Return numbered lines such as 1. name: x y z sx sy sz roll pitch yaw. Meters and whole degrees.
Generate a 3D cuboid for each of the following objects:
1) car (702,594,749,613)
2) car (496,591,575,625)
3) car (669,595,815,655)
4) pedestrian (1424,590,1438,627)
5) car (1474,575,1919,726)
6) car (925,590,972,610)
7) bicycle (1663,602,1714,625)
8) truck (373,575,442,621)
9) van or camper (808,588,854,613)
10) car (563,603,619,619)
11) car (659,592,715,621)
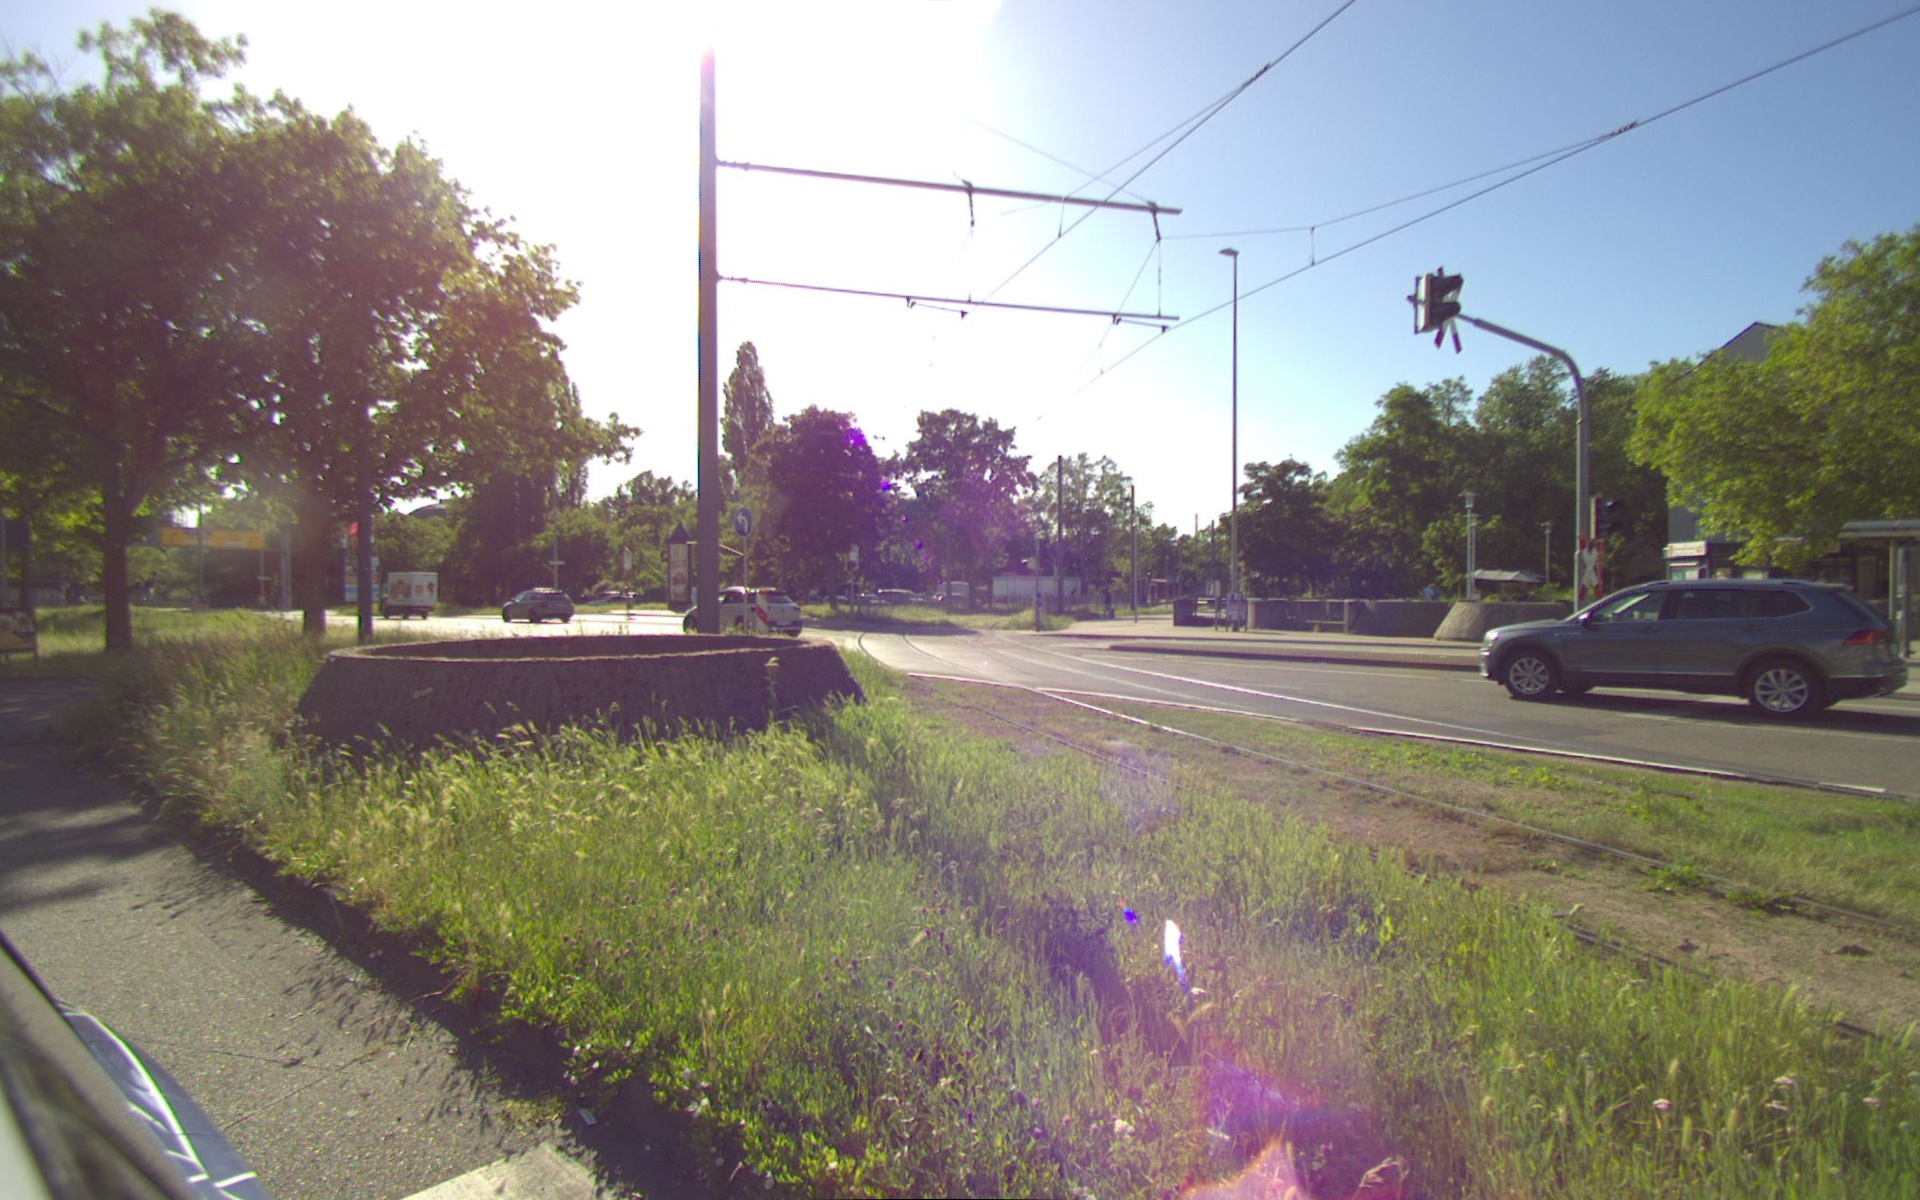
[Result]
1. car: -16.969 0.239 73.359 1.977 1.292 3.990 0 1 9
2. car: -19.645 0.344 46.771 4.401 1.459 1.645 0 1 42
3. car: -6.309 0.656 29.040 4.388 1.574 1.971 0 1 44
4. pedestrian: 23.352 0.405 50.161 0.555 1.843 0.722 0 1 21
5. car: 9.532 0.529 13.214 1.731 1.626 4.731 -1 0 -40
6. car: -1.002 0.017 89.284 3.922 1.732 1.875 0 0 11
7. bicycle: 27.956 0.509 38.855 0.539 0.845 1.689 0 0 -9
8. truck: -30.264 -0.114 55.438 4.103 2.445 1.772 0 1 37
9. van or camper: -11.301 0.006 88.634 1.968 2.112 4.410 -1 0 -39
10. car: -27.675 0.792 75.947 3.981 1.137 1.805 0 0 28
11. car: -20.010 0.464 74.407 2.214 2.029 4.986 0 0 9
